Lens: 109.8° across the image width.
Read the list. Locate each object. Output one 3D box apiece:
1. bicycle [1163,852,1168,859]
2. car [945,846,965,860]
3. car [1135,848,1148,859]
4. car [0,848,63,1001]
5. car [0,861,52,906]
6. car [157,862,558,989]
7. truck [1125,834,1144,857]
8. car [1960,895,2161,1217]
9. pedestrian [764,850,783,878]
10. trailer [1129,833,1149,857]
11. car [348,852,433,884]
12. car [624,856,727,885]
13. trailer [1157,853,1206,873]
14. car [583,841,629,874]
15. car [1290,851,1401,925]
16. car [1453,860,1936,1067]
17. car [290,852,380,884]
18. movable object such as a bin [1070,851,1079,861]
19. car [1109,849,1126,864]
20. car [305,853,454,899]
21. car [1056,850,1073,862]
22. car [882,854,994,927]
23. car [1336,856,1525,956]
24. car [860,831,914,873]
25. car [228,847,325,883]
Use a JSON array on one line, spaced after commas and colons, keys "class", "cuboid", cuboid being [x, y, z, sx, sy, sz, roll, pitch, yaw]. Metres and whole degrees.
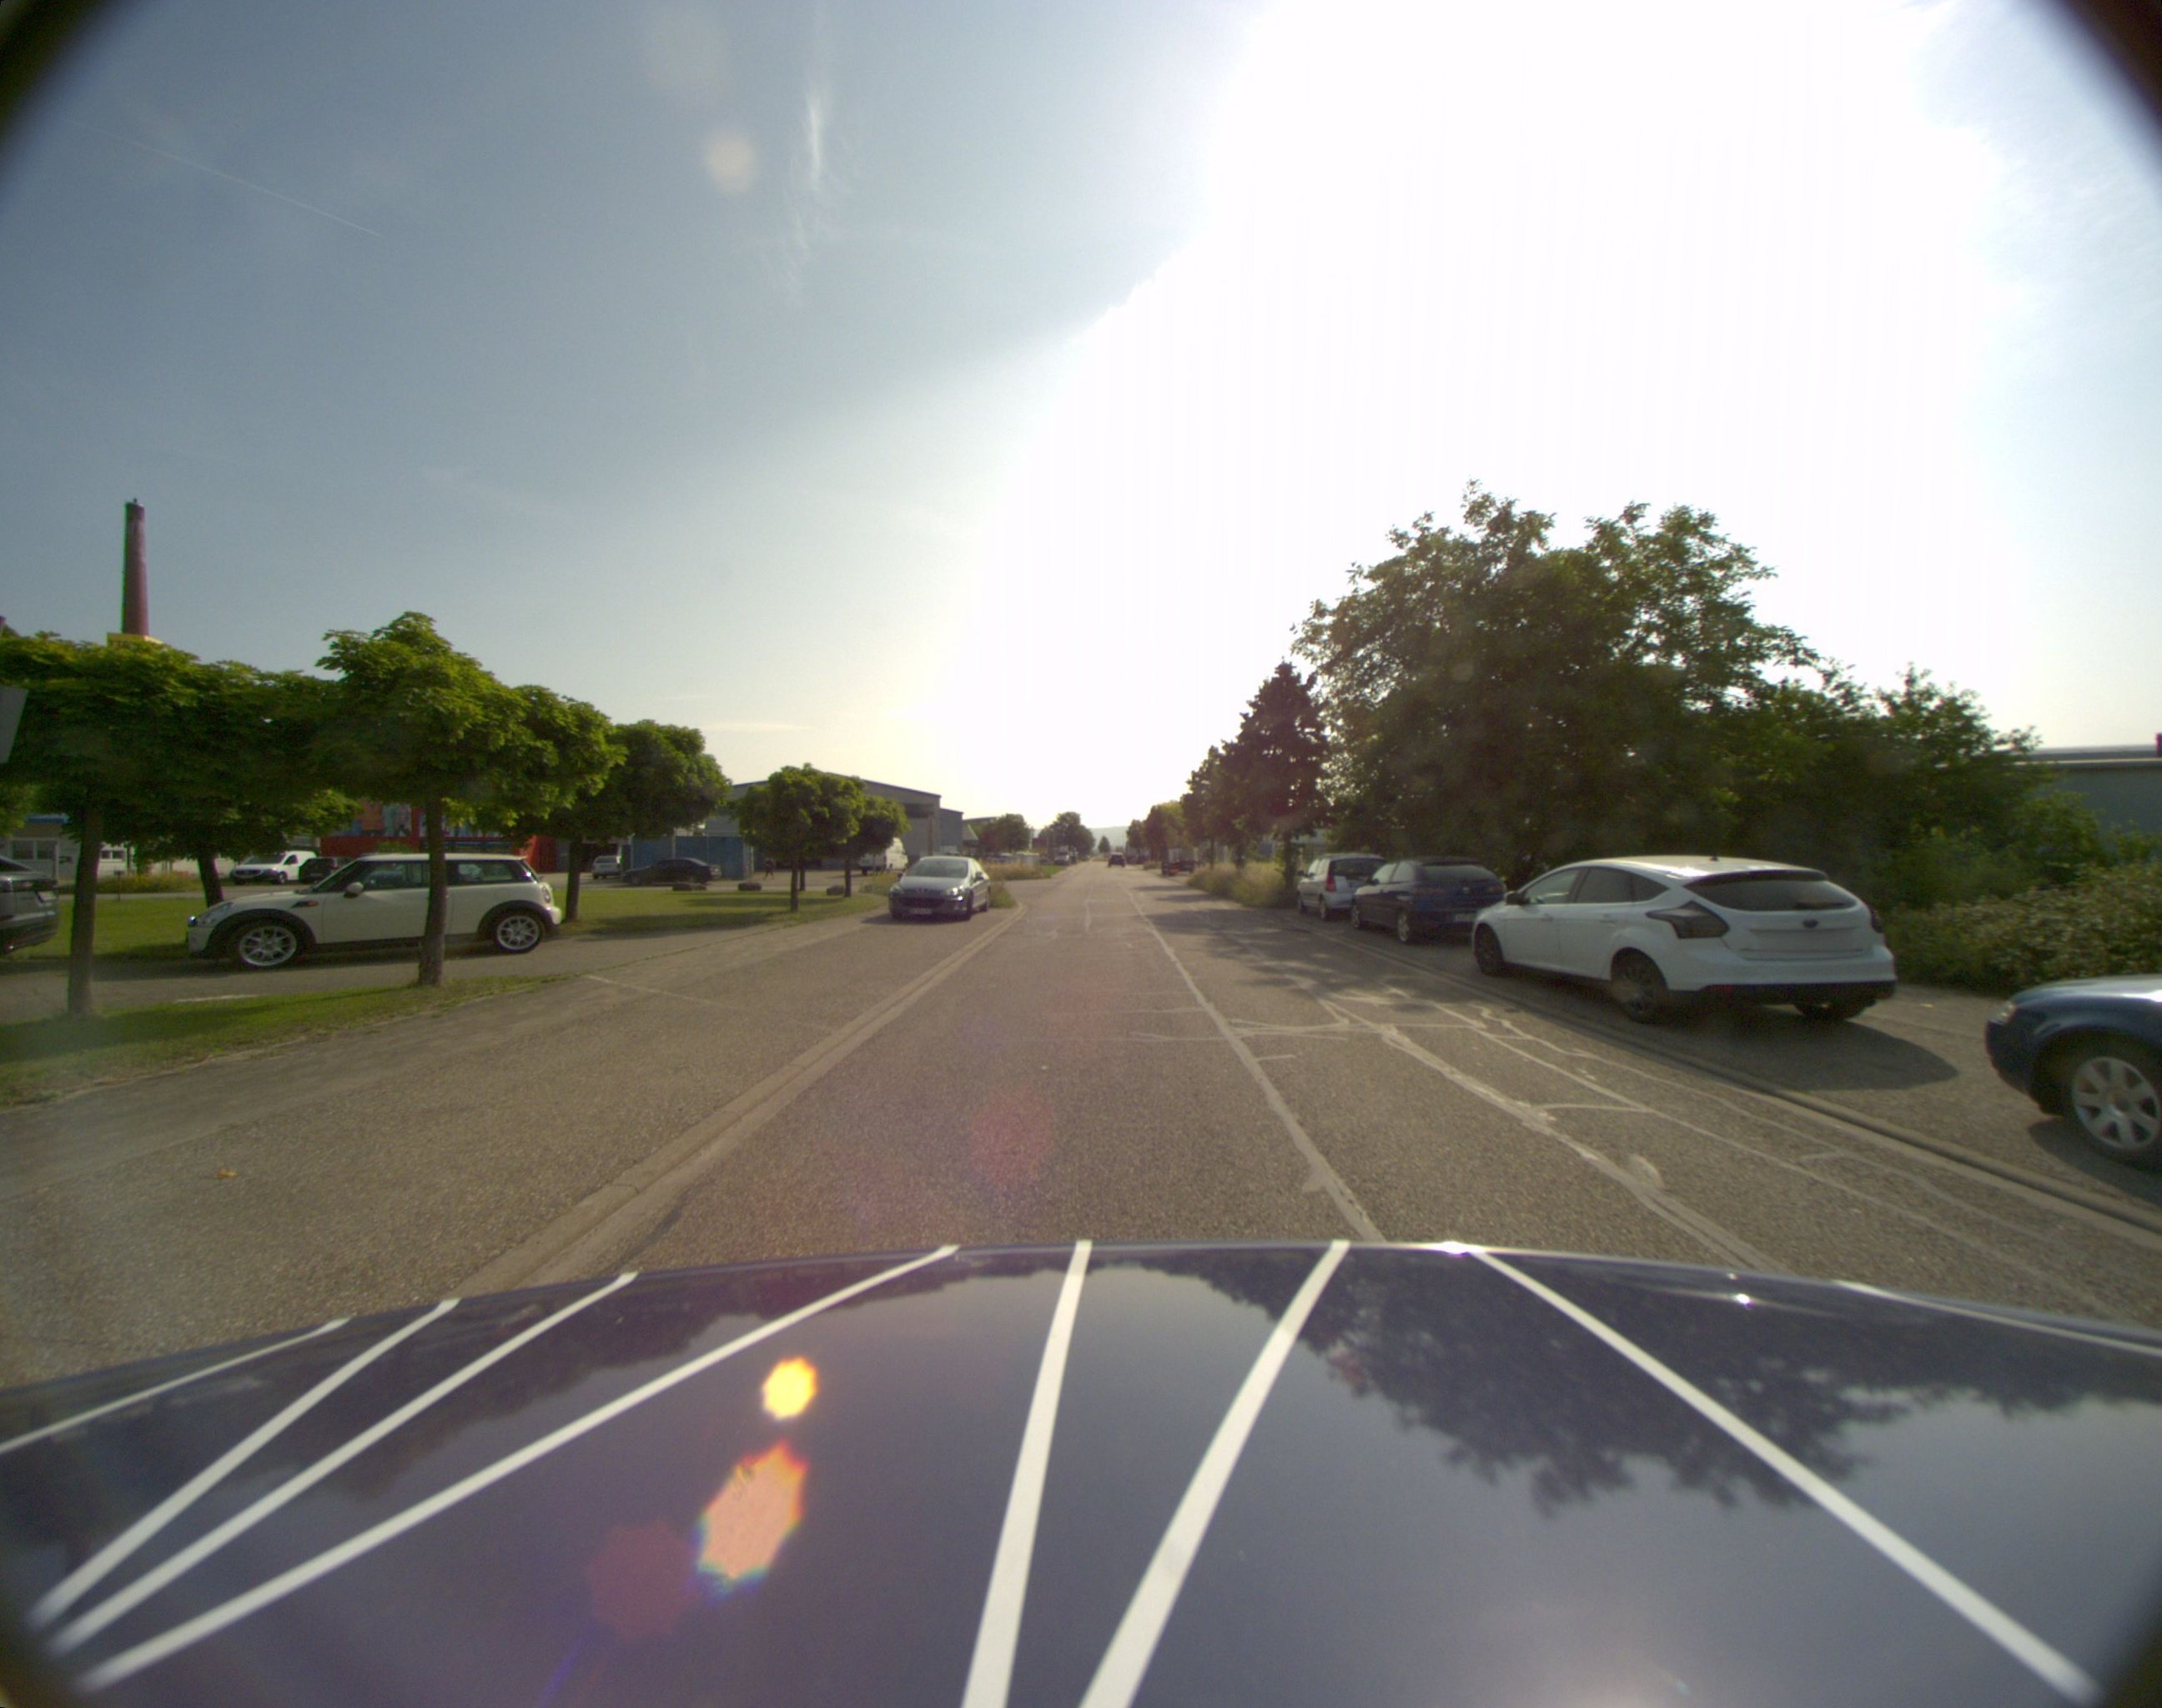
[{"class": "bicycle", "cuboid": [11.938, 0.157, 107.323, 0.563, 0.967, 2.452, 0, 0, 1]}, {"class": "car", "cuboid": [-14.310, -0.111, 86.274, 1.641, 1.559, 3.799, 0, 1, -20]}, {"class": "car", "cuboid": [8.583, -0.079, 107.751, 1.691, 1.461, 4.094, 0, 1, 3]}, {"class": "car", "cuboid": [-13.377, 0.729, 6.998, 4.543, 1.580, 1.682, 0, 1, -43]}, {"class": "car", "cuboid": [-36.199, 1.001, 24.617, 1.564, 1.442, 3.512, 0, 2, -17]}, {"class": "car", "cuboid": [-9.436, 0.826, 10.345, 3.705, 1.372, 1.683, 0, 1, -38]}, {"class": "truck", "cuboid": [9.674, -1.561, 137.440, 2.720, 3.862, 9.634, -2, 1, 0]}, {"class": "car", "cuboid": [5.652, 0.943, 2.023, 1.637, 1.379, 4.369, -2, 1, 1]}, {"class": "pedestrian", "cuboid": [-18.355, 0.583, 45.337, 0.703, 1.630, 0.750, 0, 1, 17]}, {"class": "trailer", "cuboid": [9.639, -1.472, 127.767, 2.706, 3.862, 9.764, -2, 1, 1]}, {"class": "car", "cuboid": [-37.597, 0.702, 41.530, 1.788, 1.623, 4.458, 0, 1, -18]}, {"class": "car", "cuboid": [-21.517, 0.851, 40.496, 4.473, 1.401, 1.809, 0, 2, -9]}, {"class": "trailer", "cuboid": [7.251, 0.588, 55.972, 2.589, 1.177, 9.362, -2, 1, 1]}, {"class": "car", "cuboid": [-29.797, 0.182, 47.749, 2.003, 2.002, 3.991, -1, 1, -25]}, {"class": "car", "cuboid": [6.148, 0.718, 18.078, 1.570, 1.529, 3.689, -2, 1, 4]}, {"class": "car", "cuboid": [5.736, 0.860, 7.940, 1.687, 1.461, 4.253, -2, 1, 2]}, {"class": "car", "cuboid": [-40.011, 0.703, 40.891, 1.788, 1.623, 4.200, 0, 1, -18]}, {"class": "movable object such as a bin", "cuboid": [-0.839, 0.266, 103.419, 1.083, 1.345, 1.506, 2, 1, 4]}, {"class": "car", "cuboid": [4.216, 0.293, 88.425, 1.860, 1.705, 4.226, 1, 1, 1]}, {"class": "car", "cuboid": [-24.095, 0.703, 26.339, 1.787, 1.401, 4.342, 0, 1, -12]}, {"class": "car", "cuboid": [-2.064, 0.234, 96.371, 1.677, 1.361, 4.395, 0, 1, 6]}, {"class": "car", "cuboid": [-3.321, 0.792, 18.545, 1.798, 1.509, 4.423, 0, 1, 1]}, {"class": "car", "cuboid": [6.037, 0.804, 13.654, 1.582, 1.435, 3.963, -2, 1, 1]}, {"class": "car", "cuboid": [-13.163, -0.168, 51.965, 1.979, 2.690, 5.881, 0, 1, 3]}, {"class": "car", "cuboid": [-42.740, 0.556, 40.507, 1.717, 1.787, 4.200, 0, 1, -18]}]
